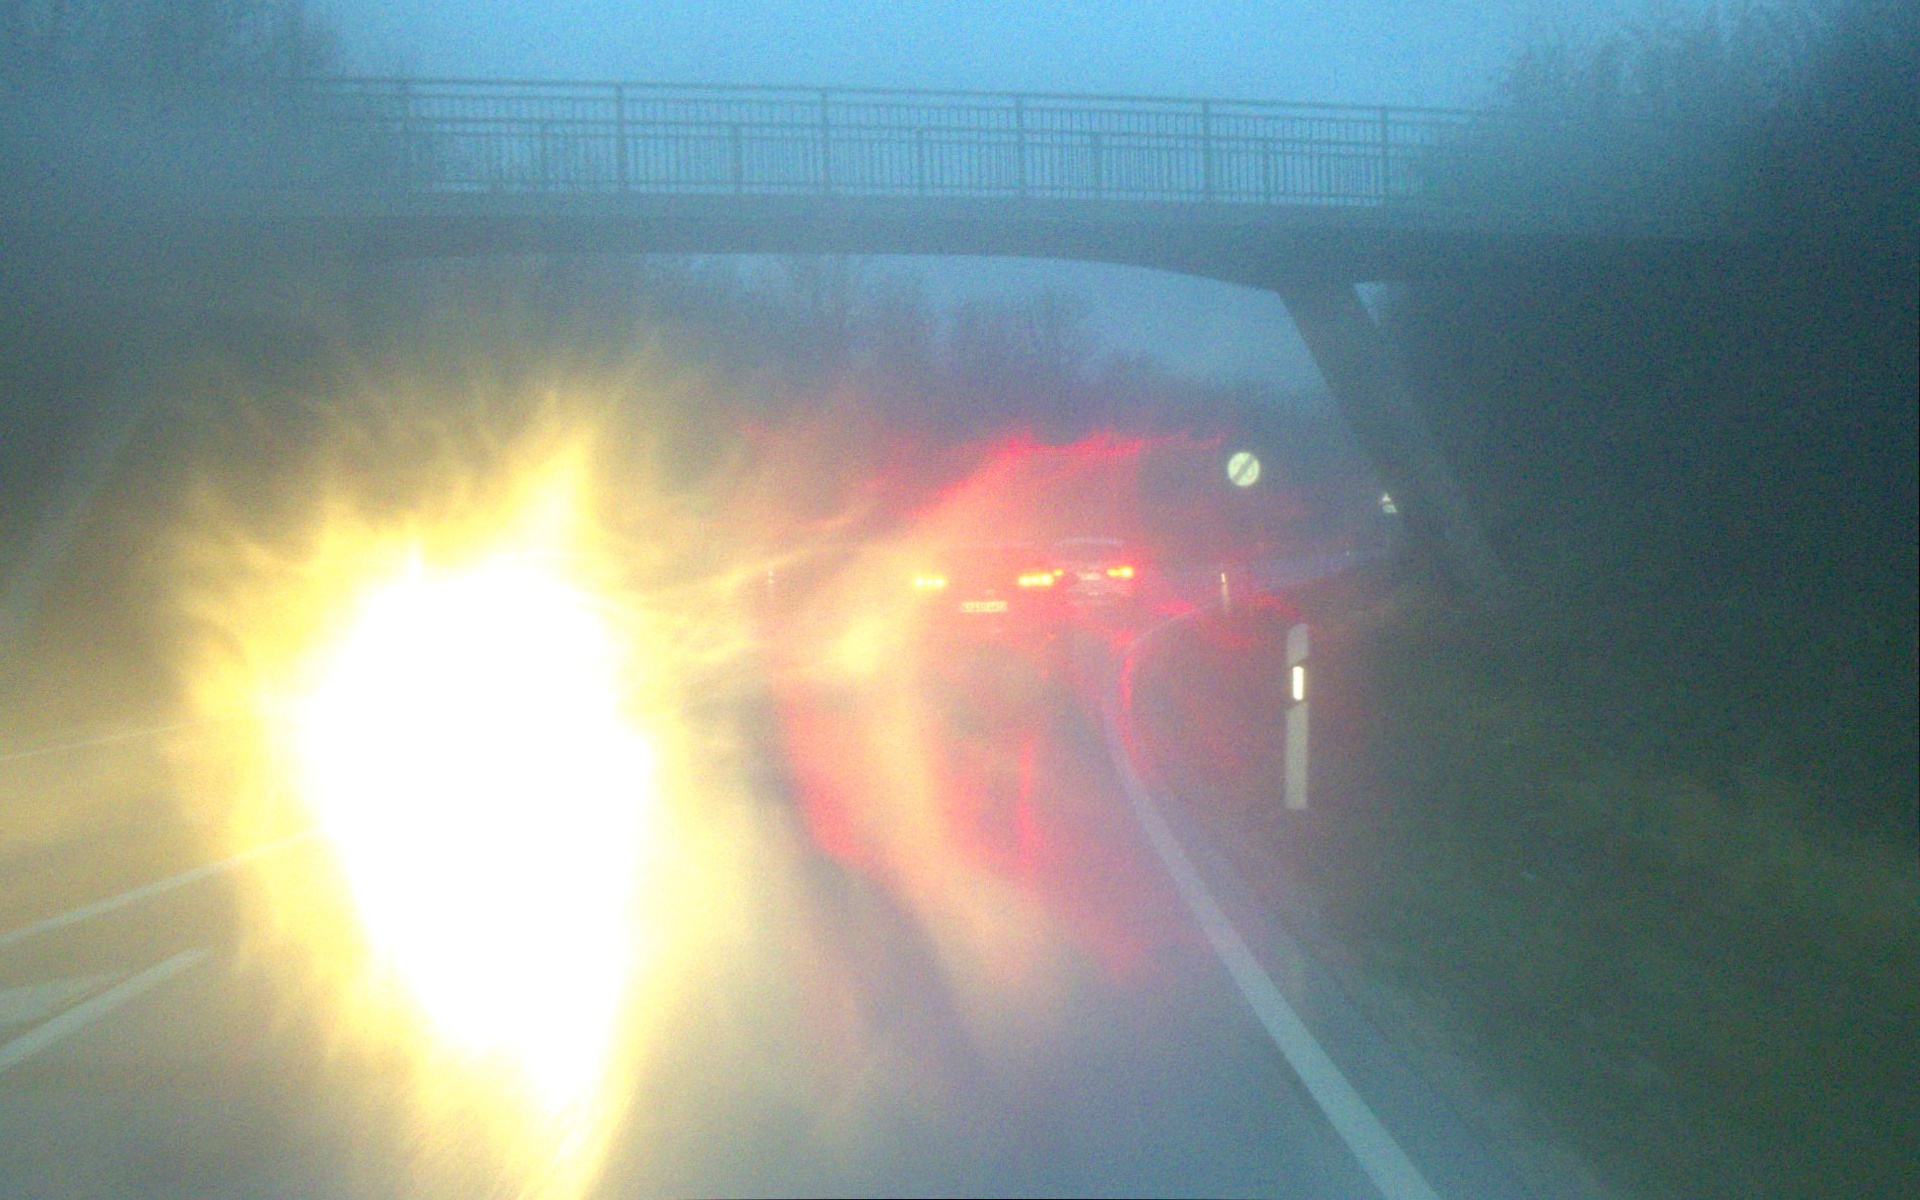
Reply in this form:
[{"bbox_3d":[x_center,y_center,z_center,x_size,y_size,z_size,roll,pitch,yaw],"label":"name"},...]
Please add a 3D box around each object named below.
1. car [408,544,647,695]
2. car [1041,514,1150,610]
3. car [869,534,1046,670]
[{"bbox_3d":[-4.345,0.162,35.150,1.804,1.448,4.379,0,1,1],"label":"car"},{"bbox_3d":[2.488,-0.702,62.398,1.679,1.669,4.097,-1,1,6],"label":"car"},{"bbox_3d":[0.023,-0.008,37.808,1.679,1.385,4.098,-1,1,3],"label":"car"}]
